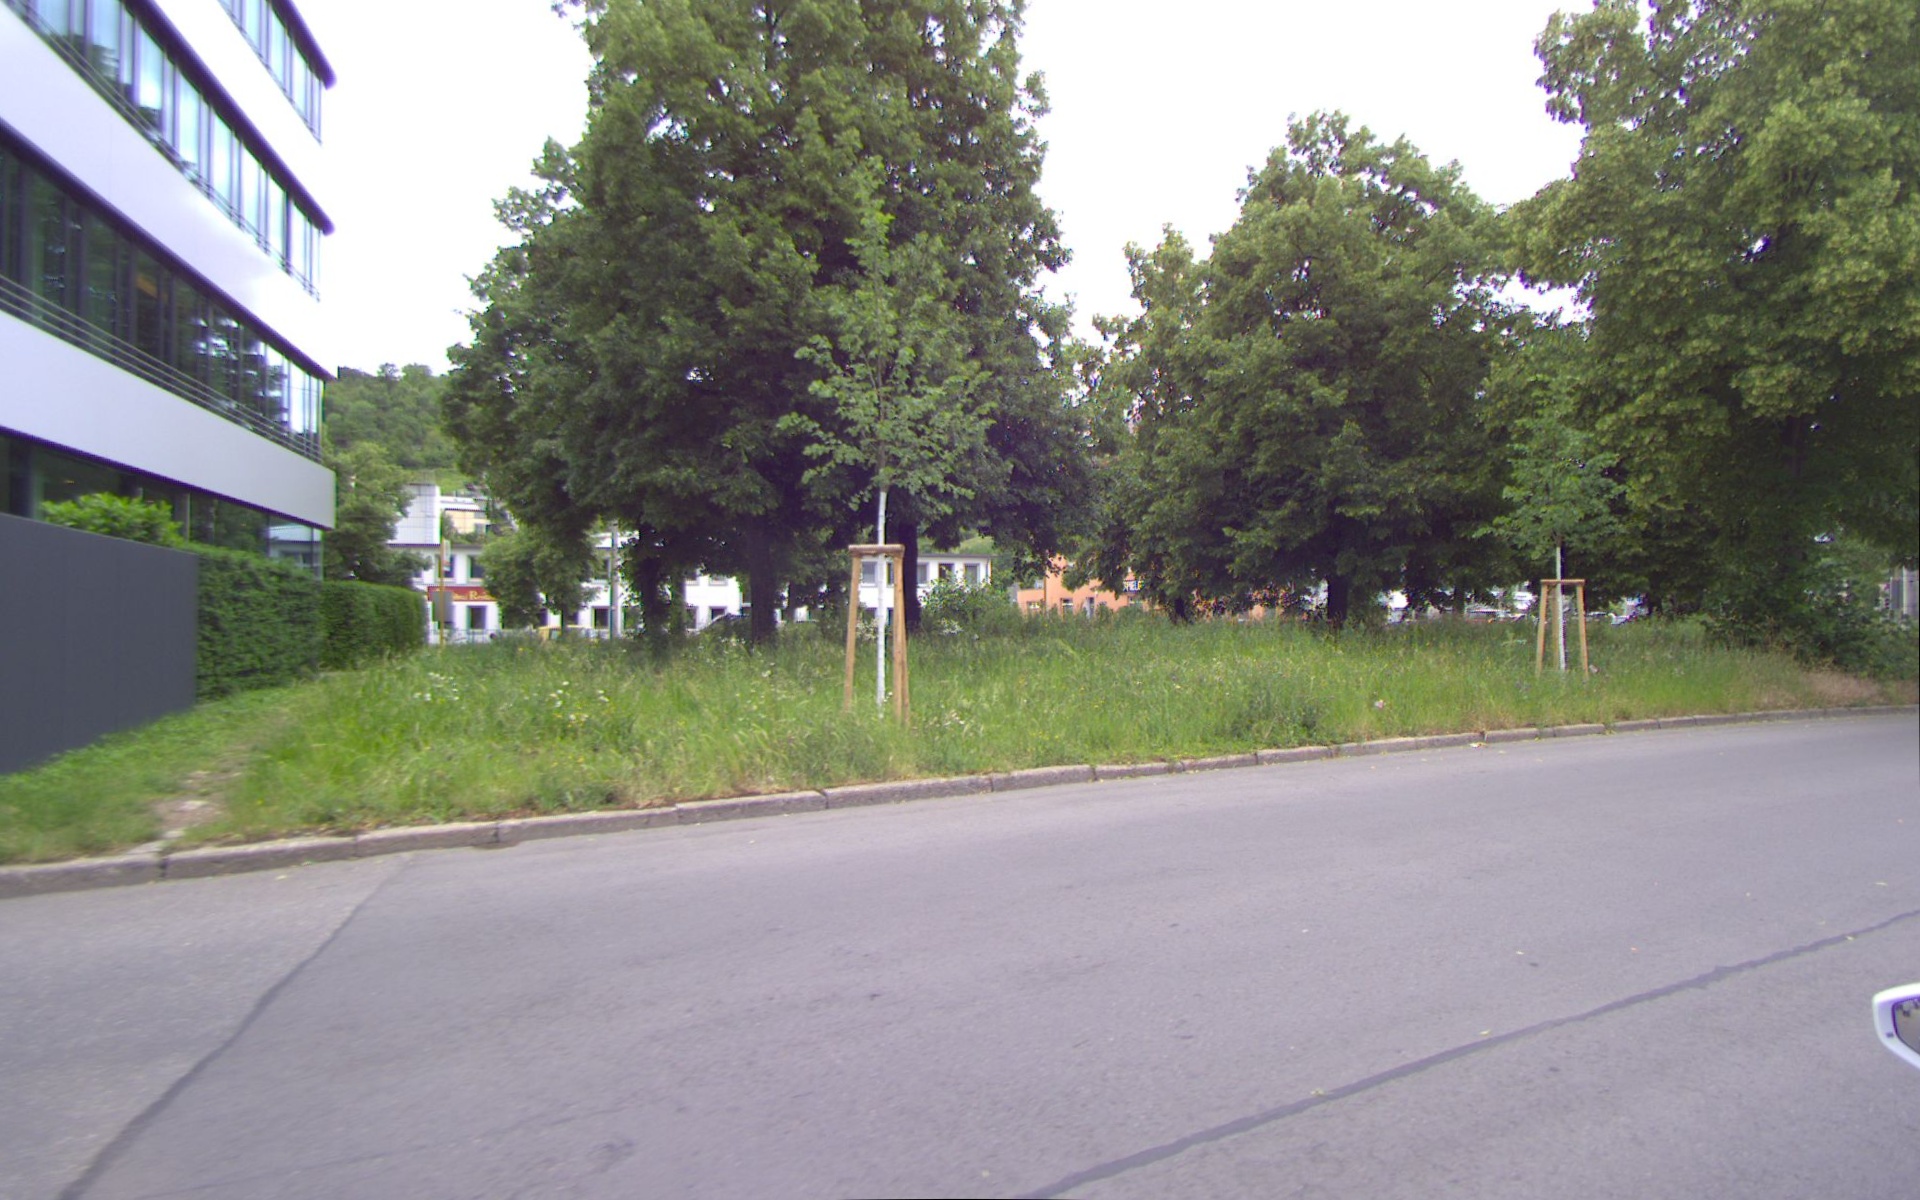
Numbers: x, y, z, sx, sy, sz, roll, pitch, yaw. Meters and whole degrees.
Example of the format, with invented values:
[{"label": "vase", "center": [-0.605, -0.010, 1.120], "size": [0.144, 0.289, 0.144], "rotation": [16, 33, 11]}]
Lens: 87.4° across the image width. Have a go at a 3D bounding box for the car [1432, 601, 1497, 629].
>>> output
[{"label": "car", "center": [25.013, 0.748, 49.767], "size": [2.844, 1.367, 1.551], "rotation": [0, -2, -29]}]
